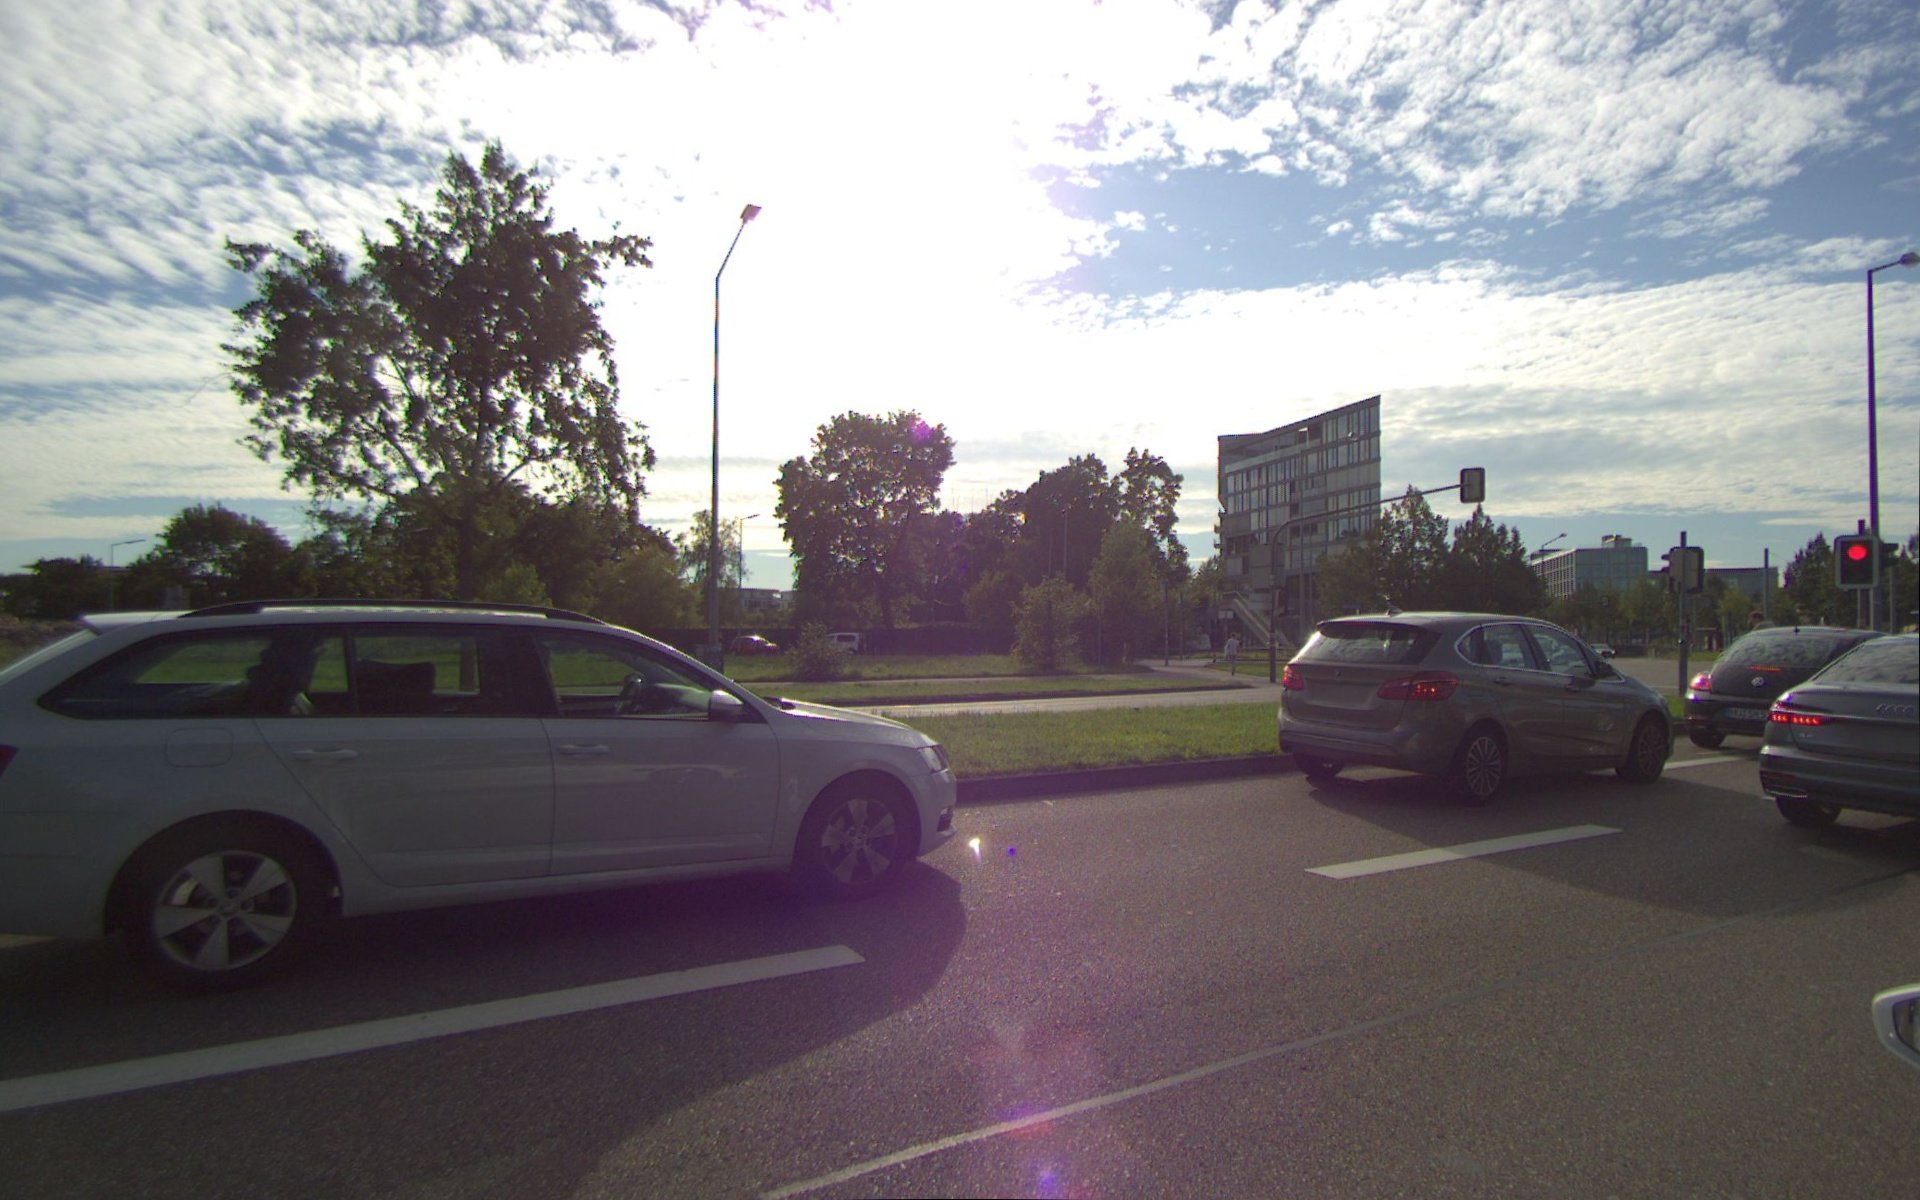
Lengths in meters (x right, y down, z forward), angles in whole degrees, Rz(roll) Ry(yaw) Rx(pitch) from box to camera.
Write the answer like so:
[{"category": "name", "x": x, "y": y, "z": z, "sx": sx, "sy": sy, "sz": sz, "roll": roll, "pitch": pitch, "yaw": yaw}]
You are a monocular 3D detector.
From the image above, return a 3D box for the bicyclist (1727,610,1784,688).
[{"category": "bicyclist", "x": 16.334, "y": 1.000, "z": 20.624, "sx": 0.840, "sy": 1.546, "sz": 0.736, "roll": -2, "pitch": -3, "yaw": 44}]

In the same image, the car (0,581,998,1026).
[{"category": "car", "x": -2.125, "y": 0.756, "z": 5.100, "sx": 4.429, "sy": 1.518, "sz": 1.690, "roll": 2, "pitch": -1, "yaw": -31}]

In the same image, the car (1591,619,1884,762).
[{"category": "car", "x": 9.882, "y": 1.049, "z": 12.720, "sx": 3.766, "sy": 1.543, "sz": 1.672, "roll": 1, "pitch": -1, "yaw": -31}]

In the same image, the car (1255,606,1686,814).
[{"category": "car", "x": 4.832, "y": 0.891, "z": 9.395, "sx": 3.971, "sy": 1.579, "sz": 1.721, "roll": 2, "pitch": -1, "yaw": -30}]

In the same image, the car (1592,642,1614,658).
[{"category": "car", "x": 63.109, "y": 4.858, "z": 98.568, "sx": 1.594, "sy": 1.484, "sz": 3.719, "roll": -1, "pitch": -2, "yaw": 35}]

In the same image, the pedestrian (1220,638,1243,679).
[{"category": "pedestrian", "x": 10.710, "y": 2.297, "z": 39.579, "sx": 0.610, "sy": 1.589, "sz": 0.649, "roll": 2, "pitch": -2, "yaw": -39}]

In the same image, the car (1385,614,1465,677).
[{"category": "car", "x": 18.084, "y": 1.785, "z": 38.888, "sx": 1.966, "sy": 2.264, "sz": 5.910, "roll": -3, "pitch": -4, "yaw": 33}]

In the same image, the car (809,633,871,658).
[{"category": "car", "x": -8.623, "y": 3.286, "z": 72.352, "sx": 4.045, "sy": 1.770, "sz": 2.002, "roll": 0, "pitch": -2, "yaw": 10}]

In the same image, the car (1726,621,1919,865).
[{"category": "car", "x": 7.904, "y": 0.963, "z": 7.523, "sx": 4.559, "sy": 1.502, "sz": 1.881, "roll": 2, "pitch": -1, "yaw": -31}]

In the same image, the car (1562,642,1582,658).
[{"category": "car", "x": 59.380, "y": 4.826, "z": 97.468, "sx": 1.570, "sy": 1.433, "sz": 3.660, "roll": -3, "pitch": -3, "yaw": 33}]

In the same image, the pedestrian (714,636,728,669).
[{"category": "pedestrian", "x": -14.617, "y": 3.202, "z": 61.418, "sx": 0.723, "sy": 2.040, "sz": 0.739, "roll": 0, "pitch": -2, "yaw": -6}]

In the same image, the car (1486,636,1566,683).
[{"category": "car", "x": 18.765, "y": 1.968, "z": 33.207, "sx": 1.876, "sy": 1.428, "sz": 4.194, "roll": -2, "pitch": -4, "yaw": 35}]

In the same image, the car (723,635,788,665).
[{"category": "car", "x": -13.770, "y": 3.362, "z": 67.738, "sx": 3.919, "sy": 1.793, "sz": 1.712, "roll": 2, "pitch": -1, "yaw": 13}]
